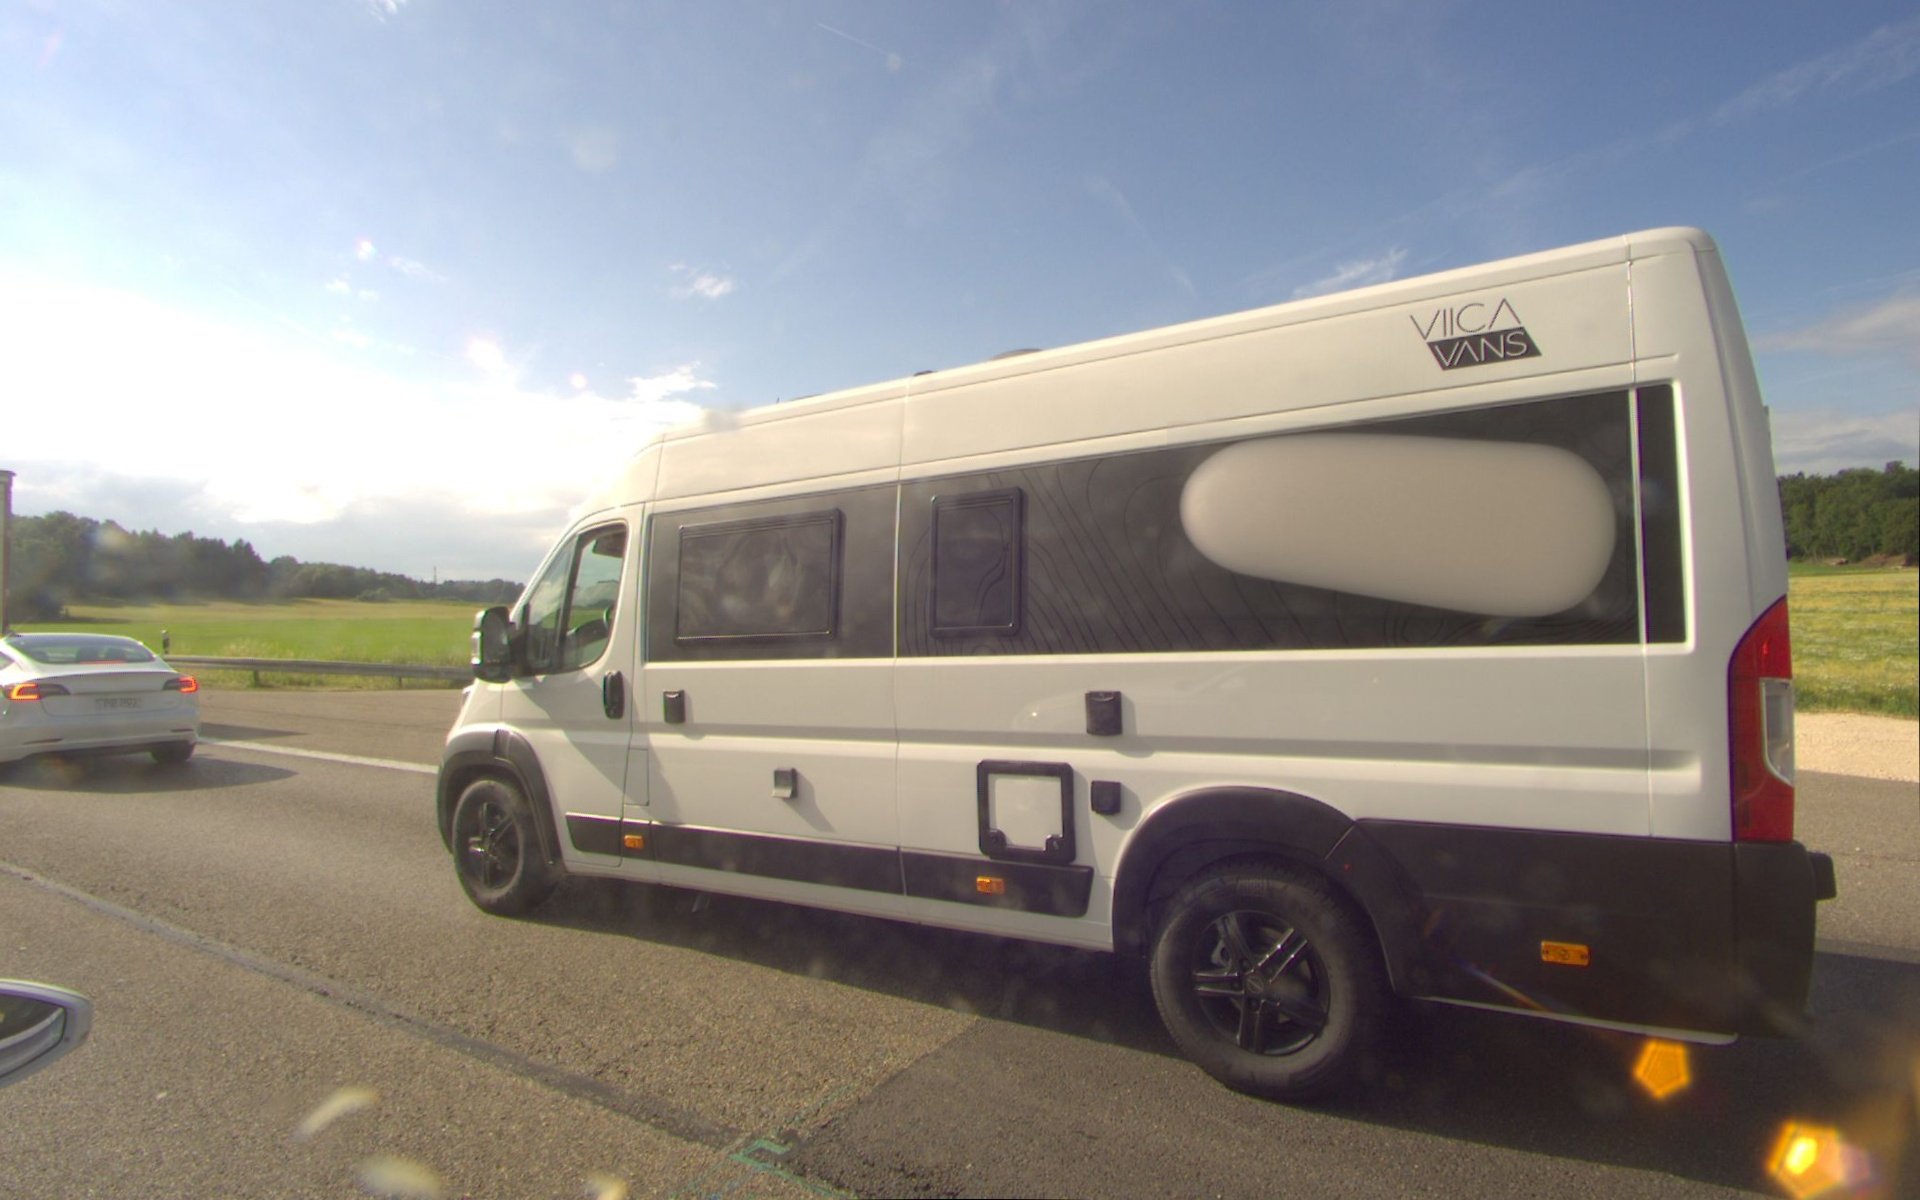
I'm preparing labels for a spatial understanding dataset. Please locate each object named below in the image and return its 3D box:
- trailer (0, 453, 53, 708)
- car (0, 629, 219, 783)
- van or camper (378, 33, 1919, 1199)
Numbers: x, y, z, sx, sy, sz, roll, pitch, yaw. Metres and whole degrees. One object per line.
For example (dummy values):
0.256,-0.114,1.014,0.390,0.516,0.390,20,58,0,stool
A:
-21.278,-0.120,18.748,13.181,4.061,3.125,-2,-2,33,trailer
-10.309,1.032,11.129,4.371,1.412,1.786,-1,-1,30,car
0.043,0.191,4.770,6.241,2.716,2.211,-1,-1,32,van or camper
